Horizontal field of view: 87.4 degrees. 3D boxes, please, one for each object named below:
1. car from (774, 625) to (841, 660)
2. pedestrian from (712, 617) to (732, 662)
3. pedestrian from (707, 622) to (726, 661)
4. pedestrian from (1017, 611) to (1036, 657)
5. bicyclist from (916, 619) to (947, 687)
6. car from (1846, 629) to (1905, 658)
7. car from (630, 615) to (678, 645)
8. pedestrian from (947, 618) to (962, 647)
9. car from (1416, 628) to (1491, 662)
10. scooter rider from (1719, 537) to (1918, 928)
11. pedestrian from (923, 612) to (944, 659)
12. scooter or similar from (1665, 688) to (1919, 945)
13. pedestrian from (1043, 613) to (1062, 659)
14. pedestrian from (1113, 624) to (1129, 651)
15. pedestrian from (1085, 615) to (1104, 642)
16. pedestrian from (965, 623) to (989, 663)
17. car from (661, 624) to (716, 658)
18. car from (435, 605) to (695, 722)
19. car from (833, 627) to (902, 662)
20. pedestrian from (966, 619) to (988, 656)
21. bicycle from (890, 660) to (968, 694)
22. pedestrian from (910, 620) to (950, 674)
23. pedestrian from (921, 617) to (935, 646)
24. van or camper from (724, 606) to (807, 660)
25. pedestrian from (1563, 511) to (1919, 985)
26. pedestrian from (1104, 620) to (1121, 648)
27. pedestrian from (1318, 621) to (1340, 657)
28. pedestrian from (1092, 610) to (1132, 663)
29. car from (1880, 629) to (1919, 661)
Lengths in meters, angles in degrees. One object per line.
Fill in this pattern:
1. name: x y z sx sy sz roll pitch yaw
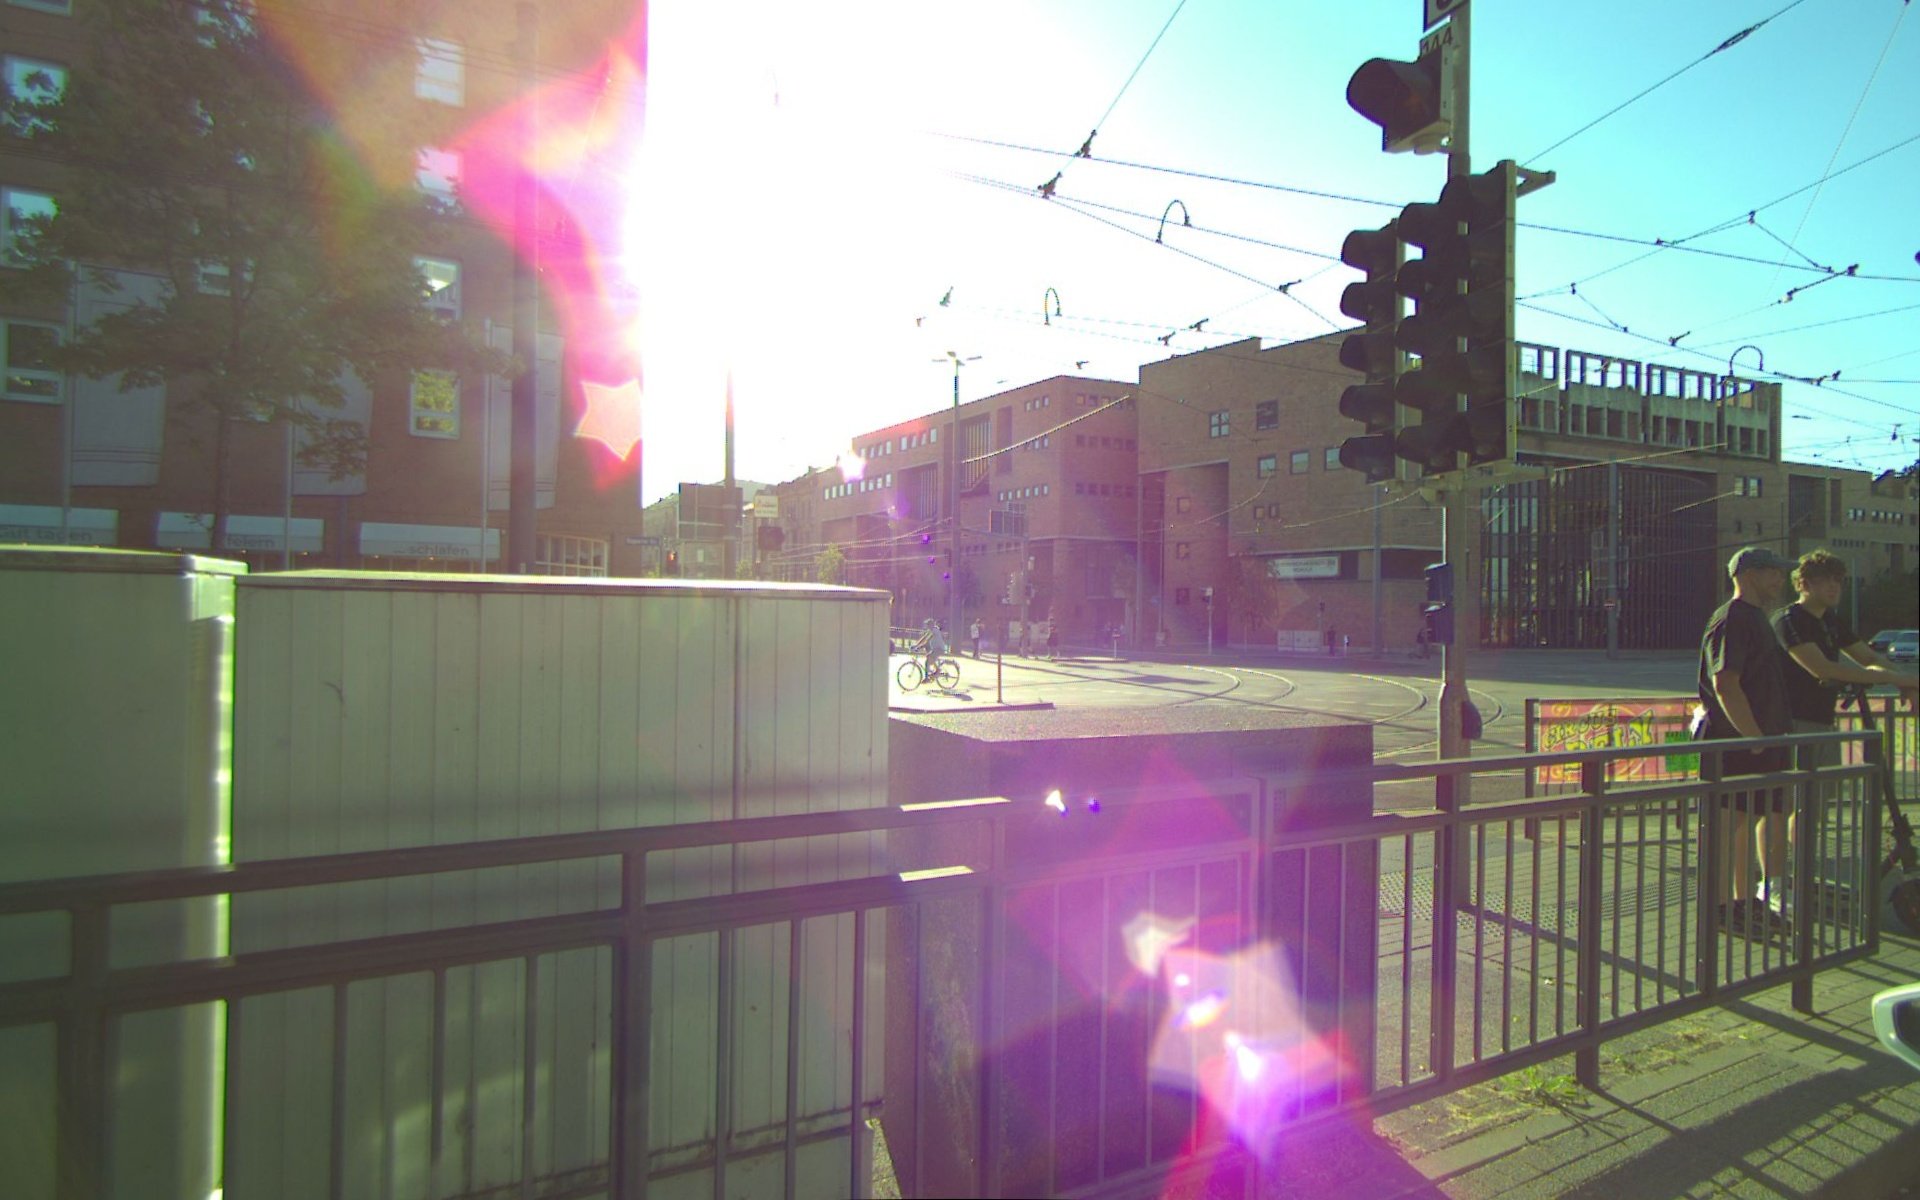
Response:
1. car: -7.799 2.144 51.185 1.978 1.709 3.965 1 -2 -33
2. pedestrian: -10.800 1.781 45.590 0.597 2.040 0.848 1 -1 -38
3. pedestrian: -11.547 1.966 47.634 0.597 1.843 0.848 1 -1 -38
4. pedestrian: 3.017 1.527 45.417 0.603 2.040 0.731 0 -1 30
5. bicyclist: -0.709 1.306 24.978 0.509 1.647 0.583 1 -1 -36
6. car: 68.273 3.223 74.870 4.415 2.040 1.869 1 -1 -28
7. car: -18.309 1.800 60.055 1.738 1.750 3.965 1 -2 -32
8. pedestrian: -0.394 2.240 69.401 0.742 2.010 0.780 1 -1 -32
9. car: 30.460 2.752 62.014 4.135 2.040 1.988 1 -2 -25
10. scooter rider: 4.470 0.656 5.237 0.670 1.877 0.564 3 -2 -25
11. pedestrian: -1.169 1.556 44.230 0.725 2.040 0.608 1 -1 -32
12. scooter or similar: 4.462 1.042 5.182 0.639 1.095 1.199 1 -1 -25
13. pedestrian: 4.126 1.606 44.736 0.603 2.040 0.731 0 -1 30
14. pedestrian: 12.367 2.881 77.149 0.841 2.079 1.001 1 -1 -32
15. pedestrian: 10.121 2.143 75.648 0.902 2.040 1.151 1 -1 -34
16. pedestrian: 0.775 1.911 44.818 0.857 1.775 0.672 1 -1 -30
17. car: -14.718 2.200 54.334 1.739 1.750 3.963 1 -2 -33
18. car: -6.788 1.033 17.295 3.952 1.786 1.859 1 0 -29
19. car: -4.808 2.237 51.810 1.978 1.709 3.965 1 -2 -33
20. pedestrian: 0.825 1.793 48.702 0.860 1.775 0.670 1 -2 -39
21. bicycle: -0.757 1.899 24.944 1.949 0.781 0.586 1 -2 -37
22. pedestrian: -1.039 1.629 34.921 0.942 1.822 0.989 2 0 37
23. pedestrian: -2.262 2.263 71.341 0.644 2.040 0.780 1 -1 -32
24. van or camper: -9.353 1.568 47.972 1.981 2.451 4.980 1 -2 -36
25. pedestrian: 3.697 0.614 4.767 0.843 1.908 1.164 1 -1 -25
26. pedestrian: 11.479 2.571 75.506 0.841 2.079 1.001 1 -1 -32
27. pedestrian: 20.110 2.111 54.771 0.866 1.927 0.718 2 0 -33
28. pedestrian: 6.085 1.457 40.206 1.193 2.040 1.028 2 0 -30
29. car: 48.952 2.286 51.726 3.962 1.598 1.610 1 -2 -36
